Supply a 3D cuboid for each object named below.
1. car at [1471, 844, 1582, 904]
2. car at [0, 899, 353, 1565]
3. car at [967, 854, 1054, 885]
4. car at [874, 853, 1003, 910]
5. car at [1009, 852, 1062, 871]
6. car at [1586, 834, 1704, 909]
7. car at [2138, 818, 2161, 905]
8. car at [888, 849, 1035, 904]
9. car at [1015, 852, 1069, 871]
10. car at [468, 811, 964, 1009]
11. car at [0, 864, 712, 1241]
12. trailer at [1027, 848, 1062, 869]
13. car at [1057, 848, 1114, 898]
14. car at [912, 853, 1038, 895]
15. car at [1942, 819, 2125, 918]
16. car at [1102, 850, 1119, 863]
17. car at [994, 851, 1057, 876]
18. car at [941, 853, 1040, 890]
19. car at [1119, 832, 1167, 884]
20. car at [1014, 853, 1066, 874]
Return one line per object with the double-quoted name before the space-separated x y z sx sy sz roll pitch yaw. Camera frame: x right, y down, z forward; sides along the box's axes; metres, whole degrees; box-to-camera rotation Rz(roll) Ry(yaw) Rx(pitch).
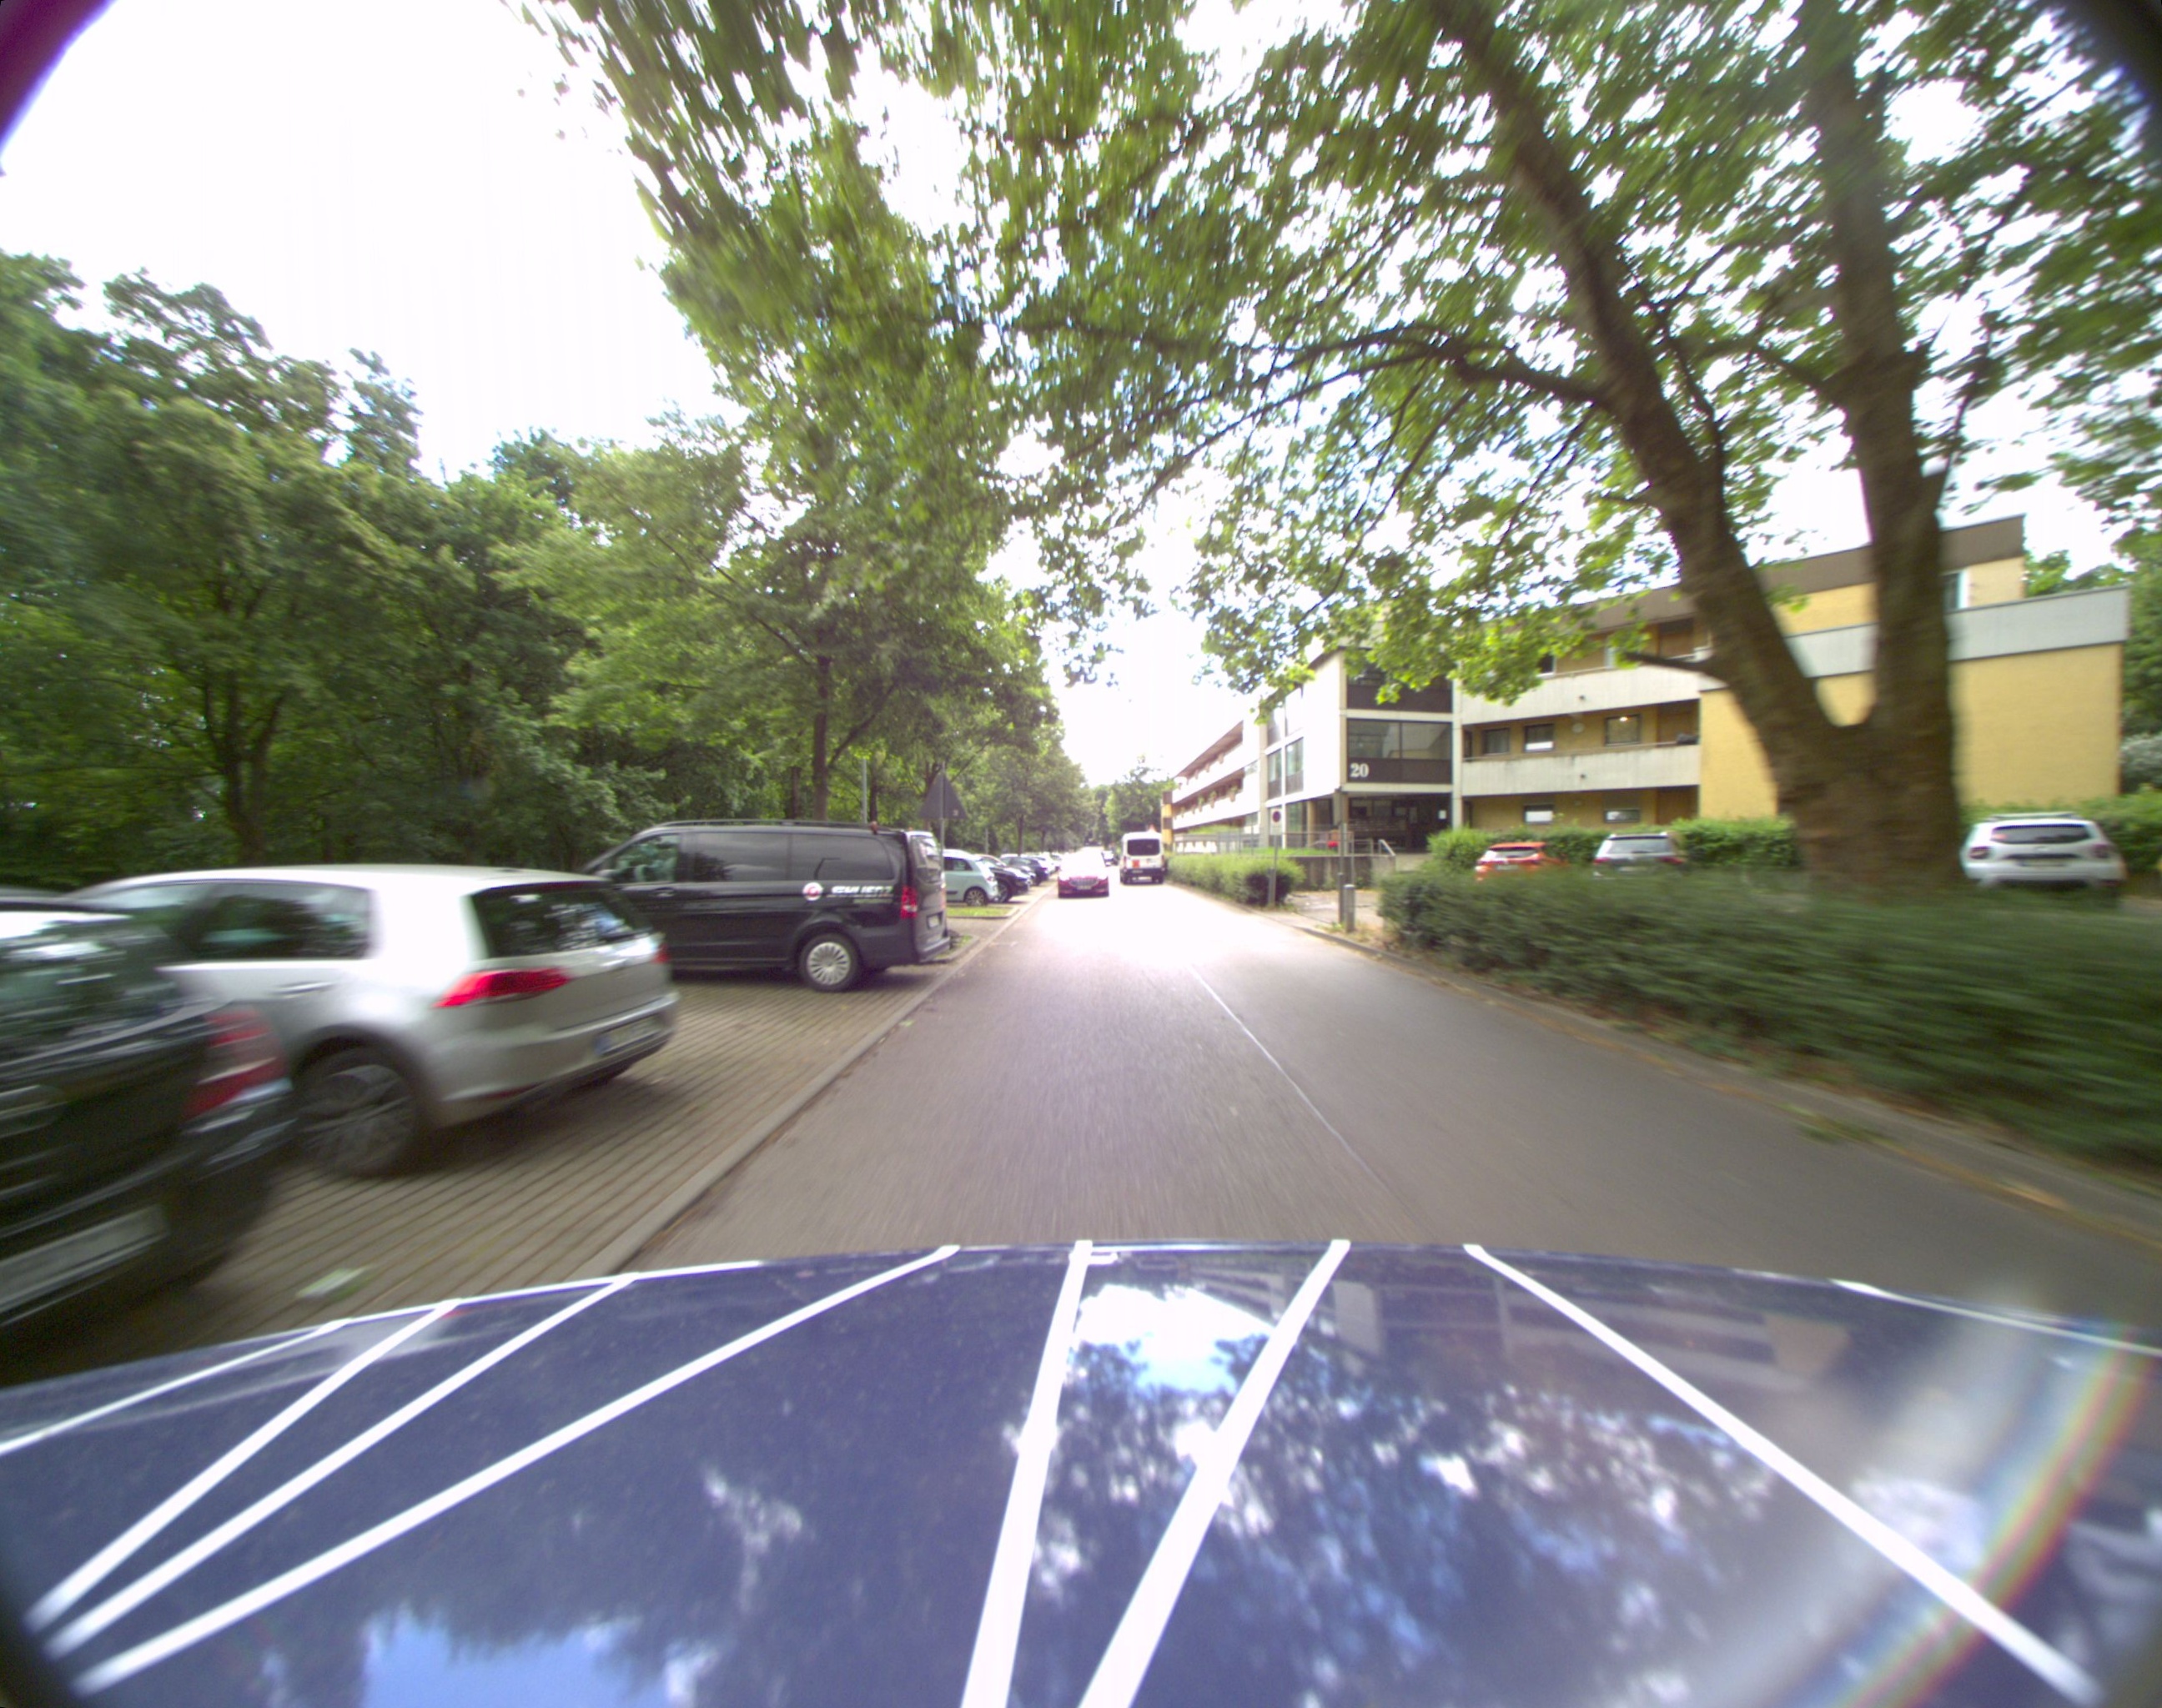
"car" 12.331 0.488 20.937 1.744 1.422 4.008 0 1 44
"car" -4.544 0.894 1.835 3.970 1.502 1.763 1 0 3
"car" -3.465 0.751 37.828 4.082 1.448 1.851 1 1 2
"car" -4.102 0.774 22.239 3.387 1.565 1.797 1 0 1
"car" -3.569 0.595 59.406 4.020 1.414 1.791 1 1 -4
"car" 13.815 0.352 18.525 1.820 1.602 4.008 0 1 44
"car" 20.312 0.145 13.172 4.008 1.602 1.744 -2 1 -44
"car" -3.810 0.708 24.795 4.426 1.666 2.082 1 0 1
"car" -3.659 0.705 72.072 4.828 1.683 1.974 1 1 4
"car" -4.128 0.591 9.256 4.966 2.002 2.166 1 0 2
"car" -4.491 0.871 4.238 3.970 1.502 1.793 1 0 2
"trailer" -3.235 0.376 66.993 3.037 1.780 1.563 1 1 -2
"car" 0.187 0.665 29.164 1.918 1.707 5.038 -2 0 1
"car" -4.111 0.769 30.017 4.647 1.508 1.983 1 0 3
"car" 18.103 0.188 14.644 4.123 1.639 1.802 -2 1 -44
"car" 3.549 0.284 93.032 1.918 1.403 4.423 -2 0 0
"car" -3.534 0.584 48.899 3.849 1.507 1.881 1 1 4
"car" -3.842 0.748 32.855 4.084 1.508 1.850 1 1 -3
"car" 3.124 0.192 39.581 2.137 2.461 6.277 -2 0 2
"car" -3.336 0.761 61.683 4.124 1.539 1.860 1 1 -2
